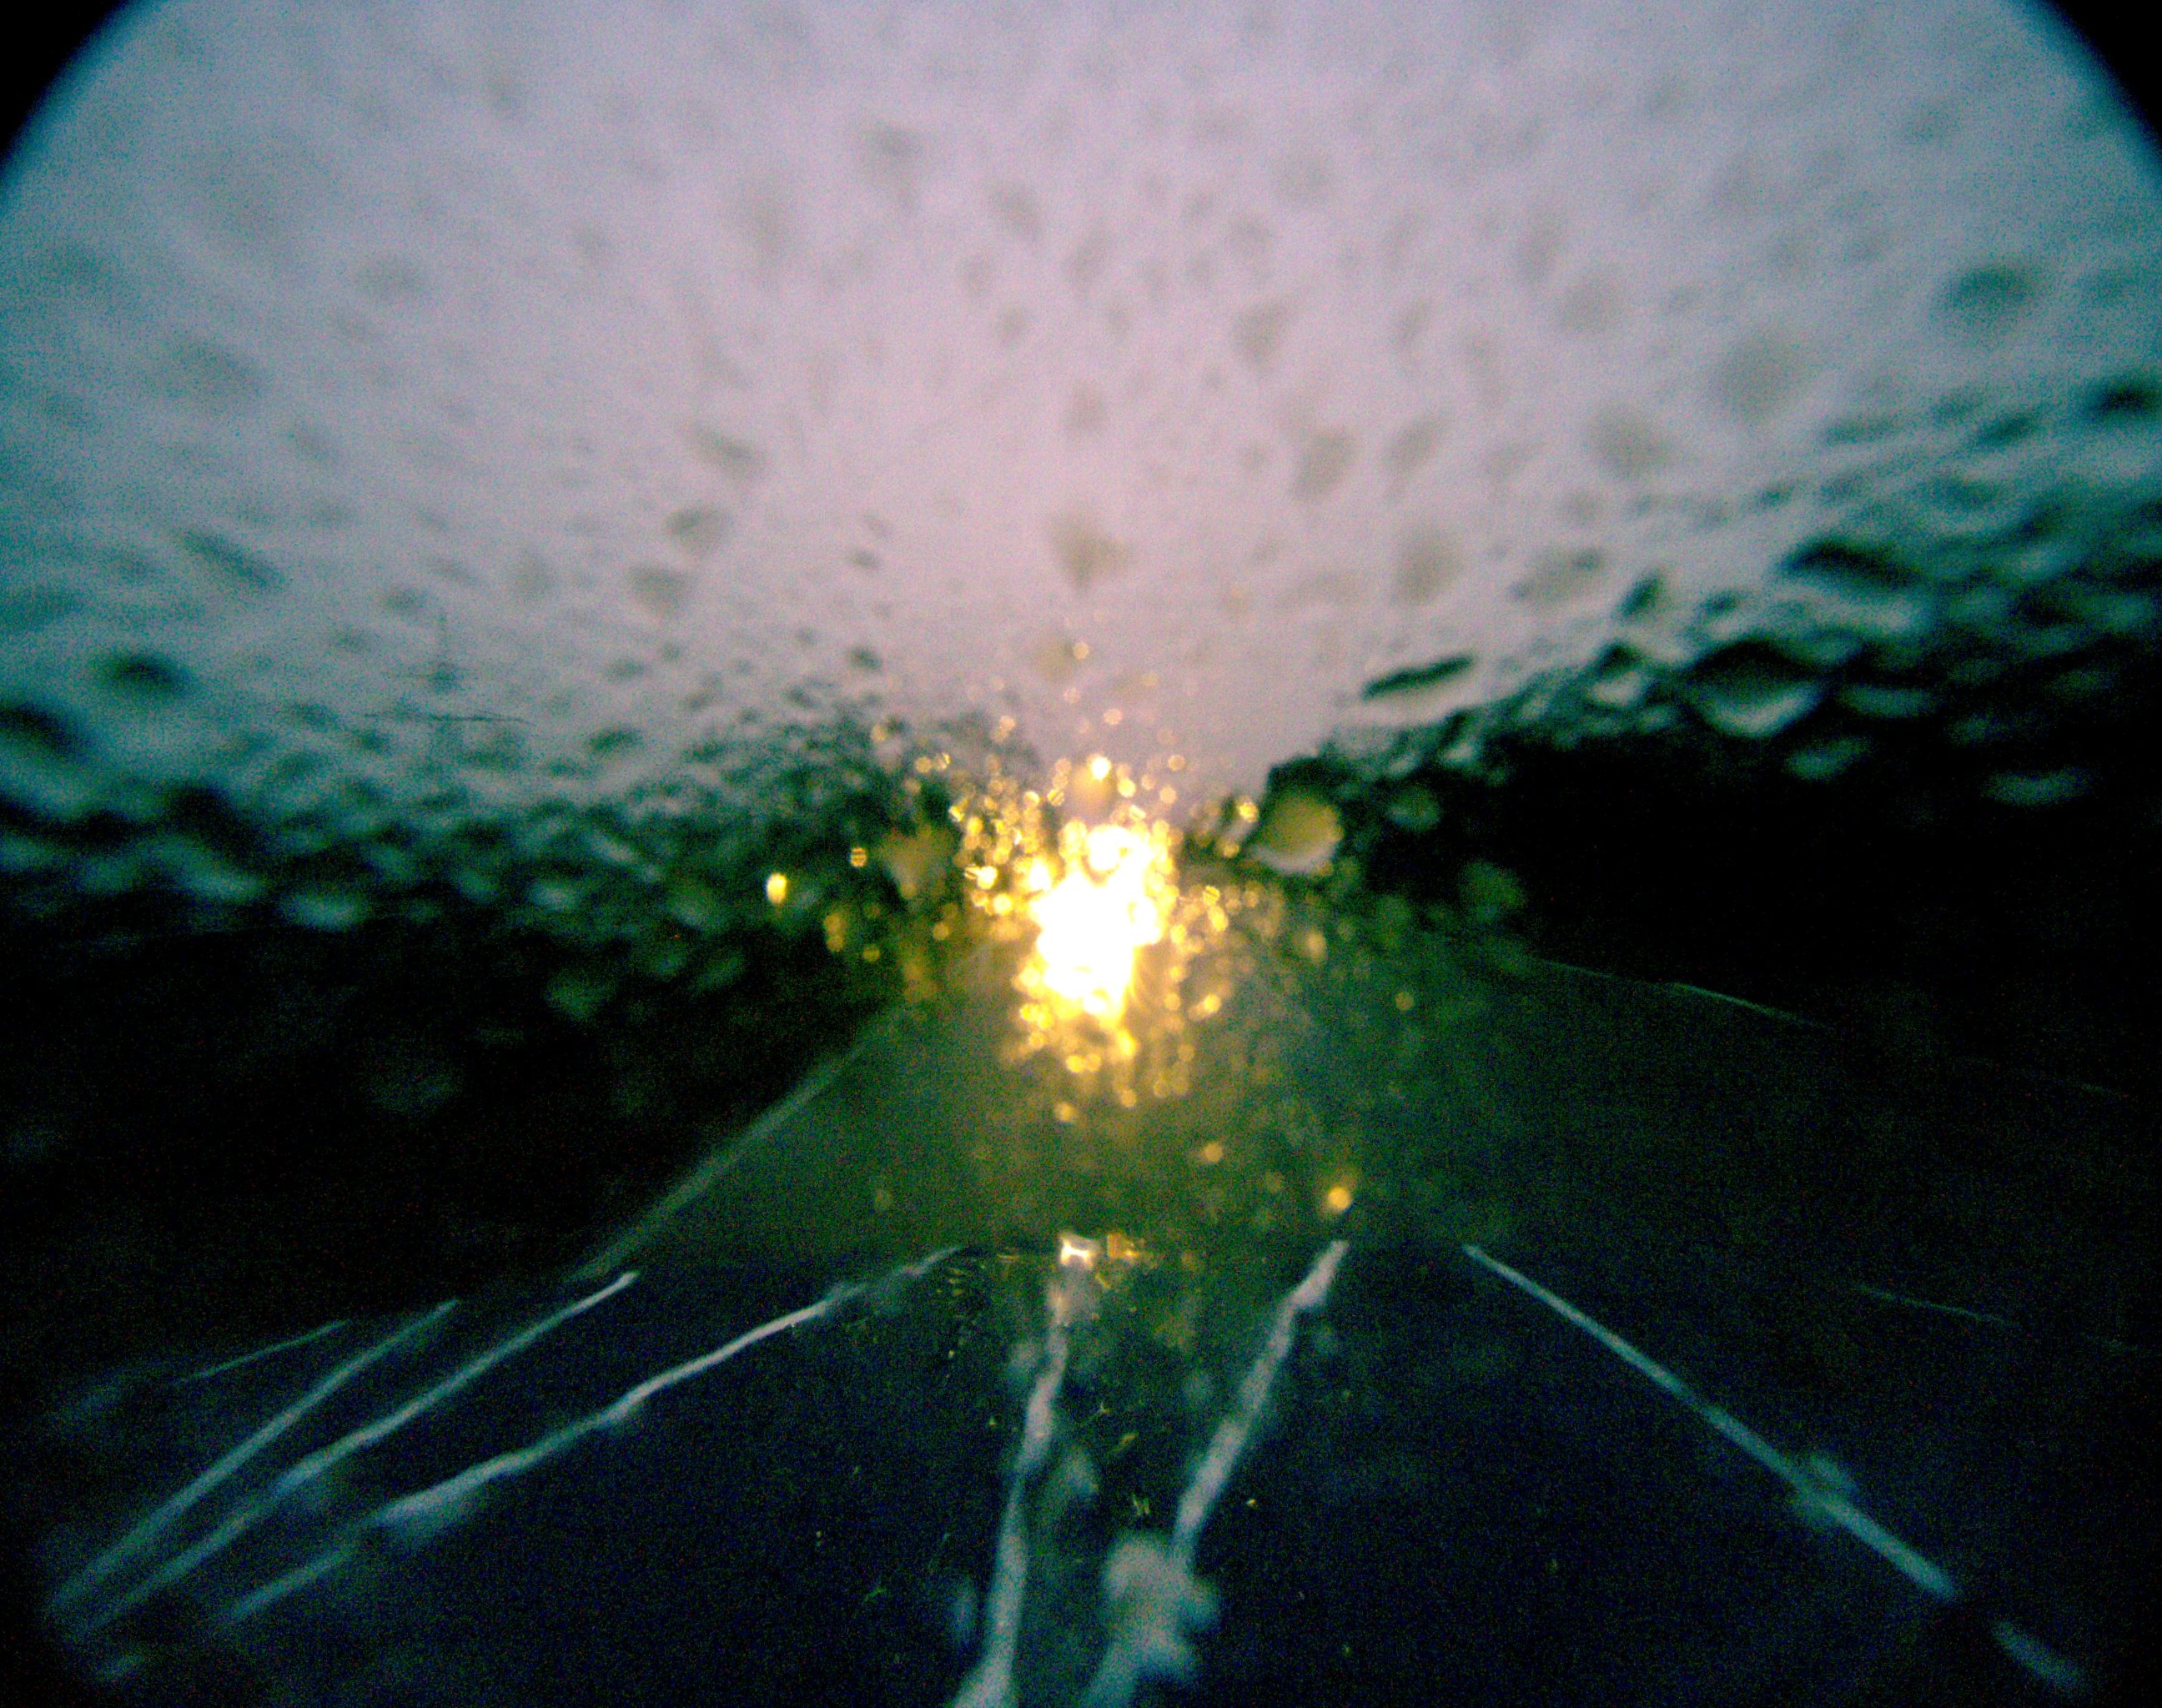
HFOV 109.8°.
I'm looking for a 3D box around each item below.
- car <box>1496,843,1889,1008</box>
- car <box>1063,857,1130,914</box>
[{"bbox_3d":[6.963,0.682,9.268,1.780,1.599,3.773,0,1,1],"label":"car"},{"bbox_3d":[0.581,0.984,25.309,1.998,1.601,4.000,-2,1,3],"label":"car"}]
